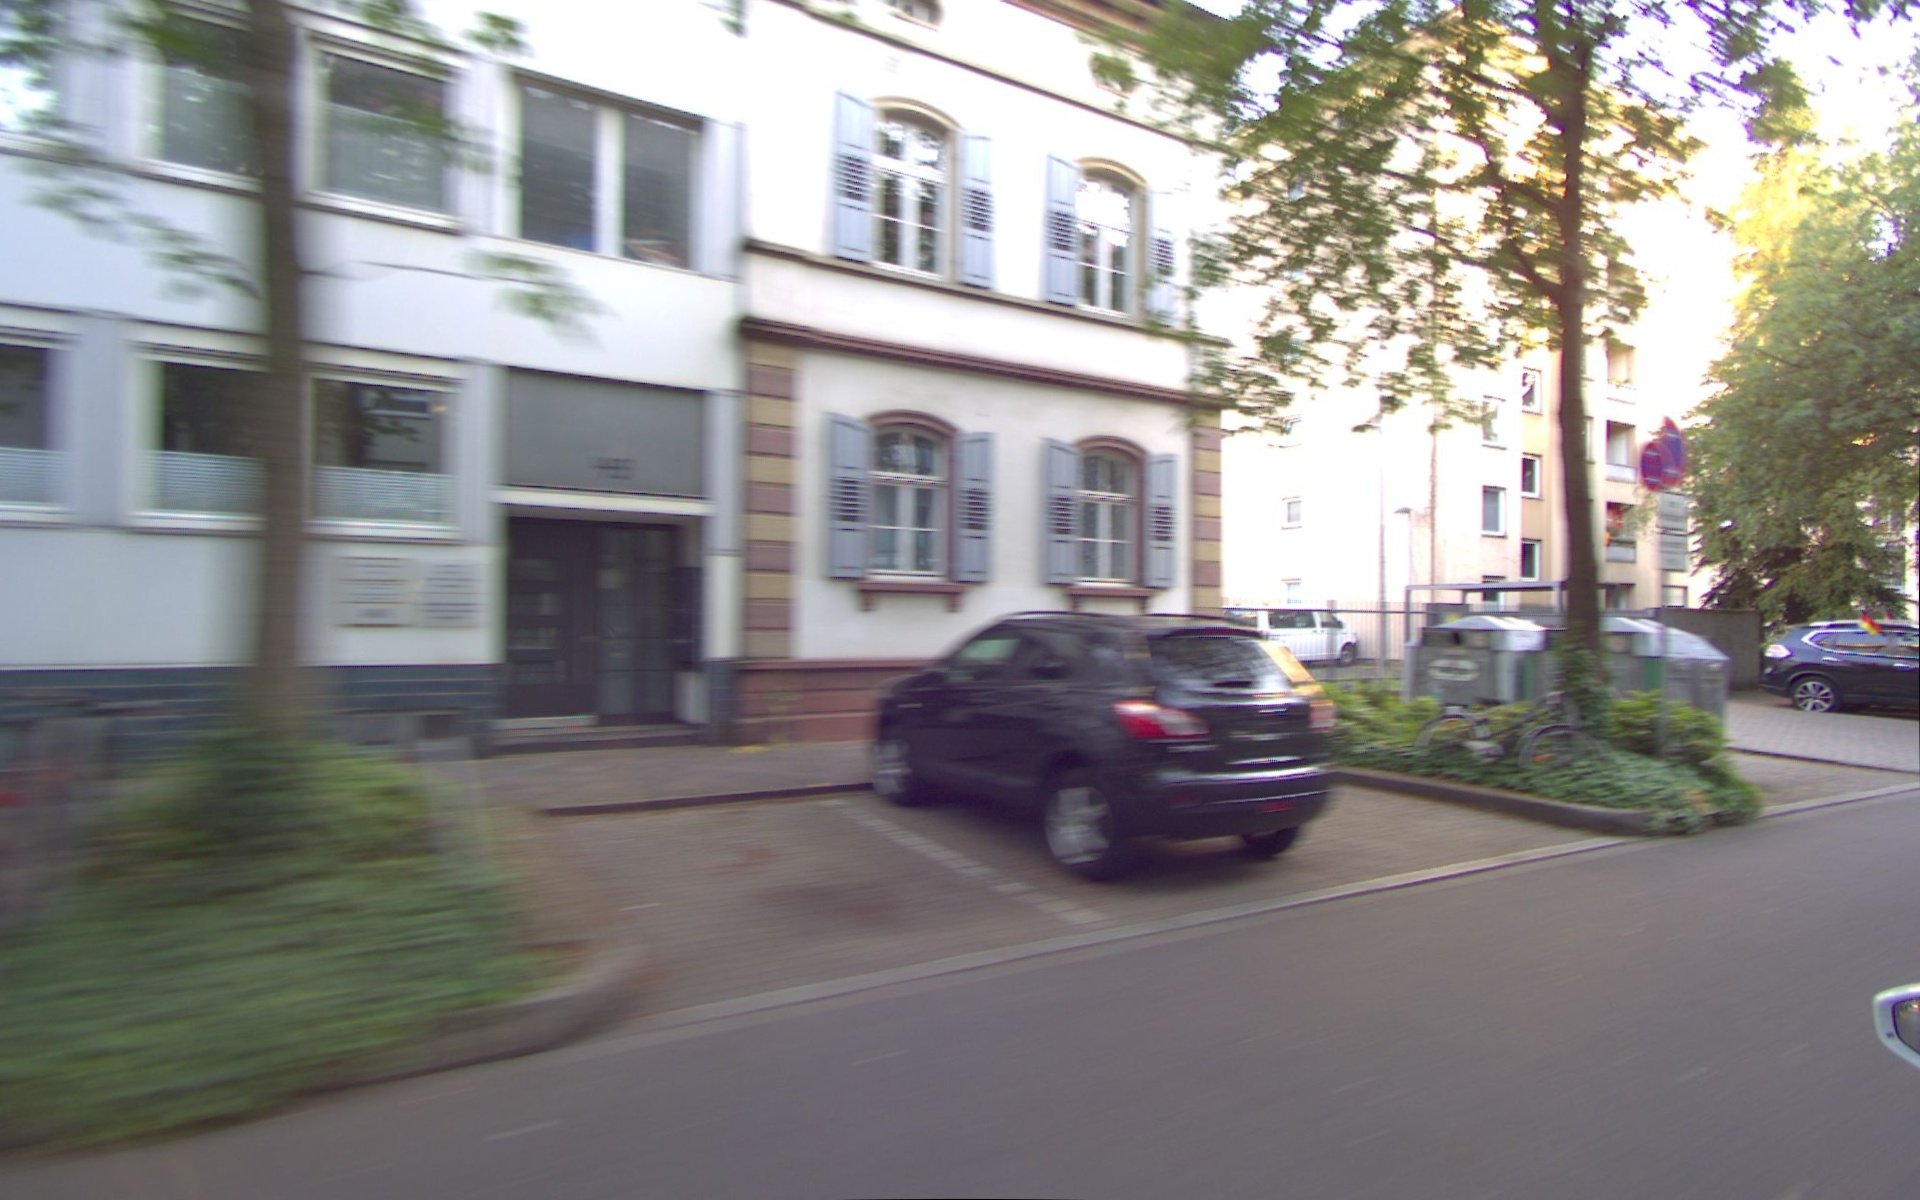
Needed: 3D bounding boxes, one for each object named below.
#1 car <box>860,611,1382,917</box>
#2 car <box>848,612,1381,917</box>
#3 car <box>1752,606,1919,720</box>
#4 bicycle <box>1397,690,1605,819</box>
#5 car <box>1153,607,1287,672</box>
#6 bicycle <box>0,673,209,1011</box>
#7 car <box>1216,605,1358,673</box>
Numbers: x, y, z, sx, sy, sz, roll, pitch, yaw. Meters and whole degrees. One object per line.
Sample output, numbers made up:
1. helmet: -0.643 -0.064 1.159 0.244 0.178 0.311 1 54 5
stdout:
1. car: 0.876 0.909 7.521 1.768 1.613 3.968 1 -1 -30
2. car: 0.836 0.908 7.488 1.807 1.609 3.966 1 -1 -31
3. car: 16.975 1.085 17.659 1.976 1.917 4.397 1 -1 -30
4. bicycle: 4.684 1.302 8.748 1.536 0.949 0.482 -1 -2 38
5. car: 8.686 1.250 33.421 4.364 2.022 1.773 0 -1 -31
6. bicycle: -3.570 0.865 4.193 0.474 1.038 1.892 1 -2 -31
7. car: 10.162 1.150 31.163 4.364 1.982 1.773 0 -1 -31
